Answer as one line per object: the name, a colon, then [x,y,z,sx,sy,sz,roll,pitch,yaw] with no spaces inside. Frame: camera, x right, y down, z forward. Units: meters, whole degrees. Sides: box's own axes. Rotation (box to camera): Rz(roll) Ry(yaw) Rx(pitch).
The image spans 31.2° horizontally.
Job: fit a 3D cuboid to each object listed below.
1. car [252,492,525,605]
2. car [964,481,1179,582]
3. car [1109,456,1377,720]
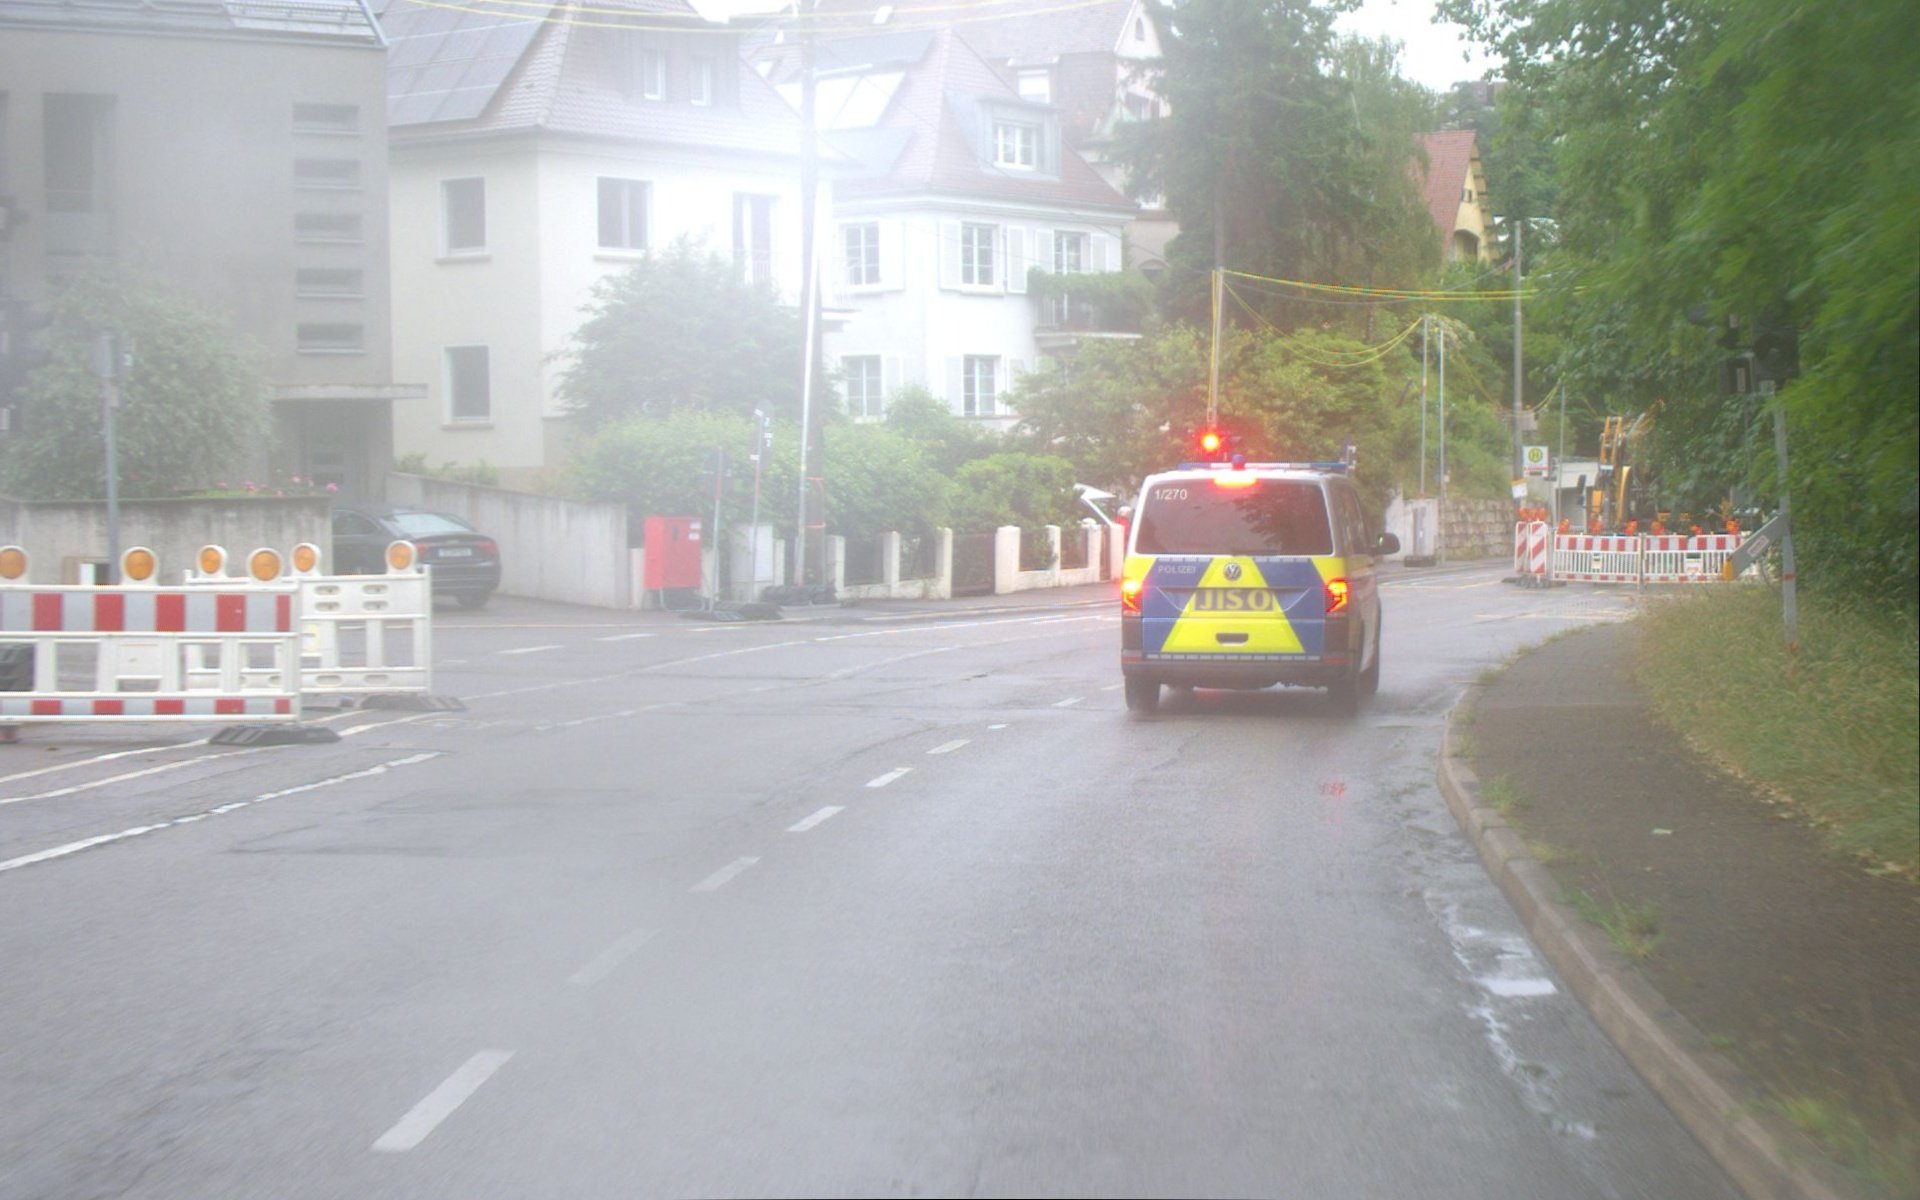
car: [-7.788,-0.731,46.660,1.834,1.438,3.999,-1,3,-41]
car: [2.274,-1.417,70.332,3.993,2.007,1.827,1,2,28]
car: [2.427,-0.152,28.477,1.994,2.007,4.401,0,2,8]
